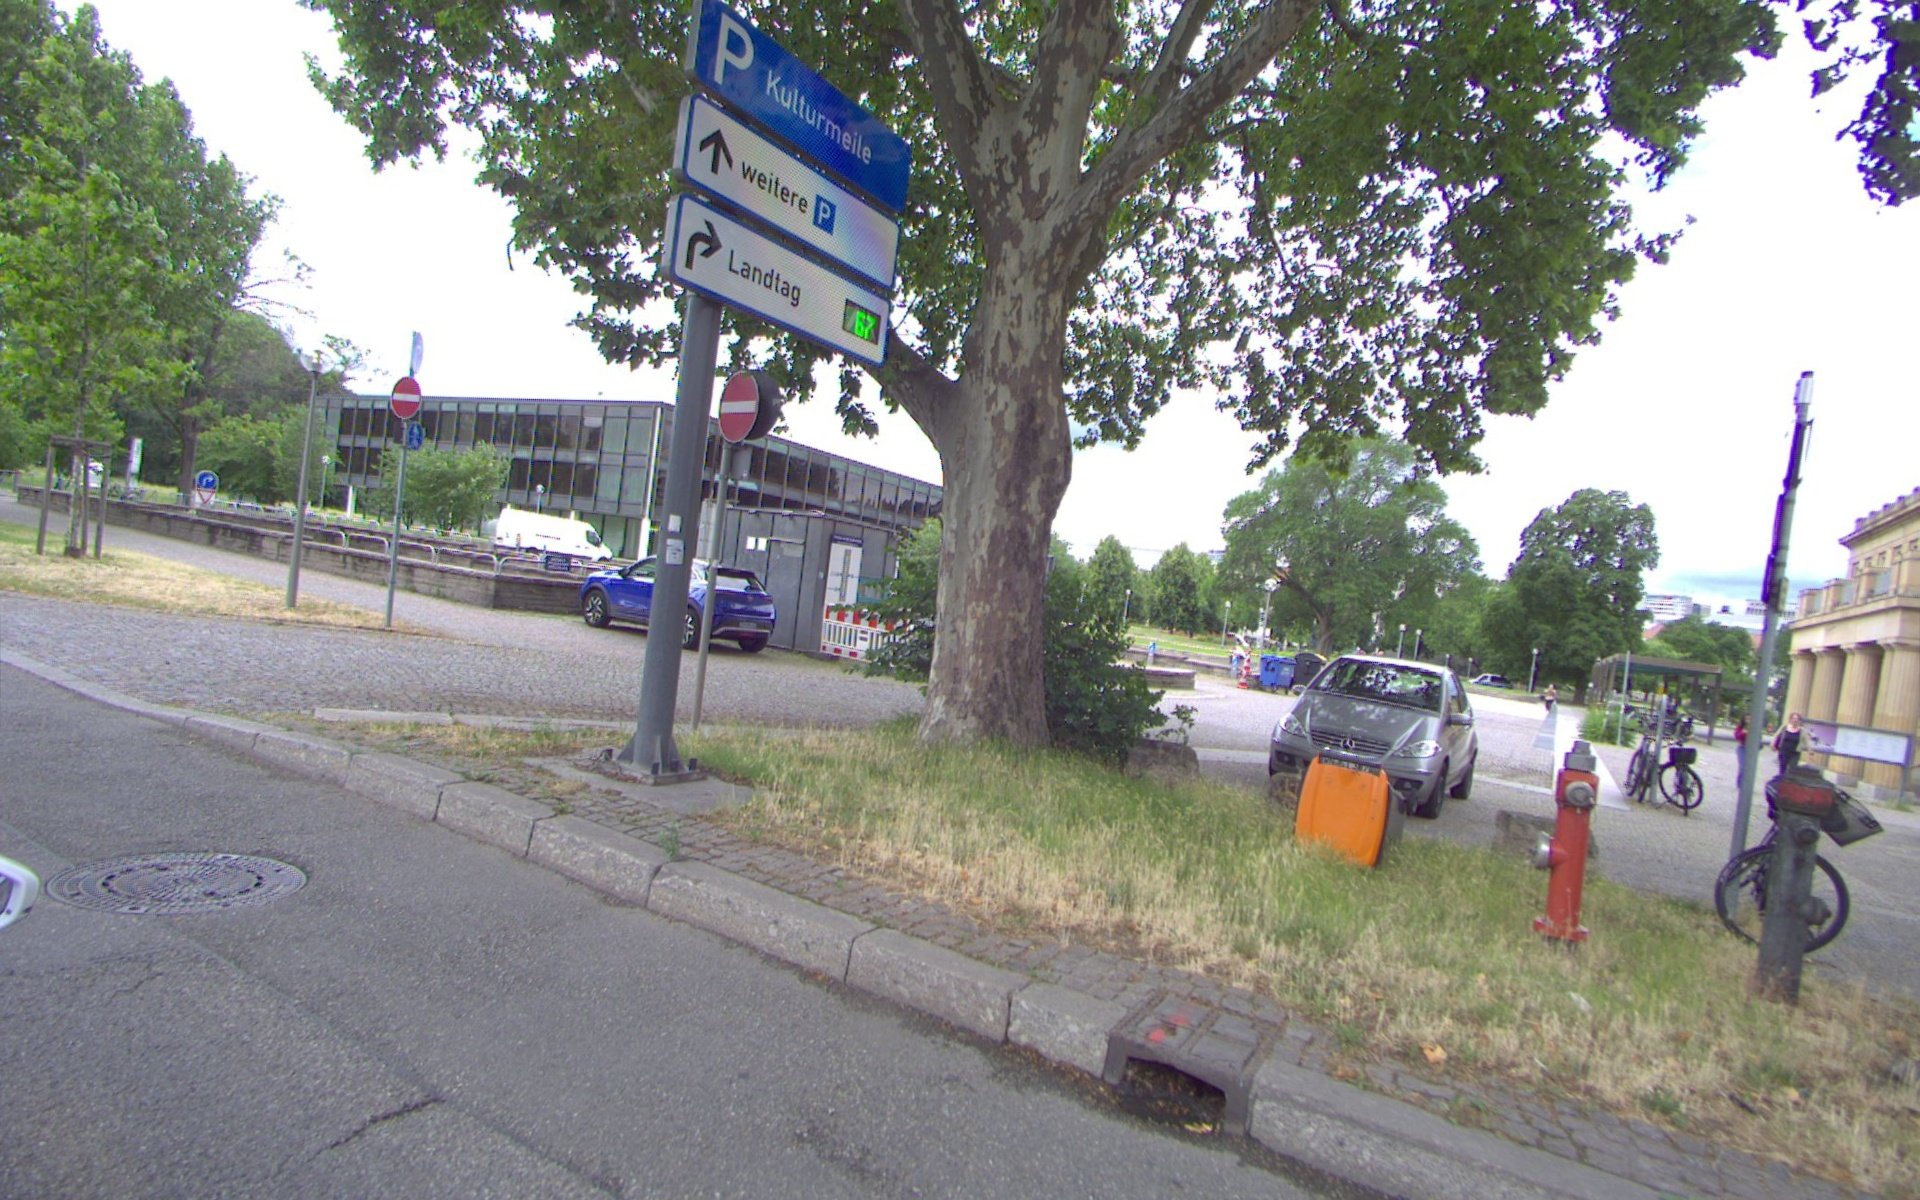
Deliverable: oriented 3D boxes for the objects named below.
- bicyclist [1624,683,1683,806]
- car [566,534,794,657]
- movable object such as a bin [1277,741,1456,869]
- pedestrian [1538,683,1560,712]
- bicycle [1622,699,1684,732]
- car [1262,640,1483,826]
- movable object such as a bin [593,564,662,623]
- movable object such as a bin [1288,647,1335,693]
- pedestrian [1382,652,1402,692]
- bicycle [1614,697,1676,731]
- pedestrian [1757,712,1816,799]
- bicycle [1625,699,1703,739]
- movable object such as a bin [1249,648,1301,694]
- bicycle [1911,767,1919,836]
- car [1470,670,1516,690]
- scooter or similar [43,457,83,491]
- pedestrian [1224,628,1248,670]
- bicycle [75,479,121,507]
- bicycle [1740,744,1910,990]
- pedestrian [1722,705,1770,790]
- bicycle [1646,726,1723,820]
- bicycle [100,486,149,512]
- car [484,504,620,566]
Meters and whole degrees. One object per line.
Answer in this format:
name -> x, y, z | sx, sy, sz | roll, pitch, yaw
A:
bicyclist -> 10.533, 2.181, 15.292 | 0.466, 1.770, 0.437 | 8, 1, 24
car -> -5.187, -0.100, 18.489 | 3.961, 1.571, 1.761 | 10, 2, 34
movable object such as a bin -> 2.794, 1.355, 6.847 | 0.718, 0.659, 1.299 | 6, -3, 40
pedestrian -> 39.788, 6.579, 67.924 | 0.929, 1.826, 0.546 | 8, -1, 4
bicycle -> 36.980, 6.148, 53.745 | 2.536, 1.360, 0.726 | 7, -1, 32
car -> 4.963, 1.446, 11.786 | 1.651, 1.587, 3.841 | 8, 0, 31
movable object such as a bin -> -7.033, -0.125, 21.272 | 0.757, 1.078, 1.009 | 11, 3, 29
movable object such as a bin -> 12.910, 2.584, 36.911 | 1.134, 1.515, 1.409 | 8, 1, 34
pedestrian -> 20.427, 3.398, 47.588 | 0.537, 1.826, 0.500 | 8, -1, 4
bicycle -> 36.148, 6.004, 53.105 | 2.536, 1.360, 0.726 | 7, -1, 32
pedestrian -> 17.965, 3.362, 21.881 | 0.693, 1.744, 0.680 | 8, 1, 30
bicycle -> 33.961, 5.728, 48.565 | 2.848, 1.442, 0.961 | 7, -1, 28
movable object such as a bin -> 10.354, 2.340, 33.048 | 1.134, 1.320, 1.409 | 8, 1, 34
bicycle -> 14.898, 3.085, 15.184 | 0.420, 1.113, 2.166 | 7, -1, 37
car -> 67.301, 10.038, 126.987 | 4.835, 1.758, 2.074 | 7, -2, 35
scooter or similar -> -38.182, -5.378, 42.798 | 2.190, 1.259, 0.636 | 7, -1, 34
pedestrian -> 14.347, 2.543, 52.308 | 0.799, 2.037, 0.625 | 8, -1, -39
bicycle -> -41.976, -5.207, 48.995 | 2.297, 1.076, 0.956 | 7, -2, 31
bicycle -> 5.526, 1.622, 6.513 | 0.484, 1.236, 1.786 | 8, 0, 34
pedestrian -> 16.812, 3.149, 21.527 | 0.559, 1.716, 0.430 | 8, 1, 30
bicycle -> 10.781, 2.545, 15.019 | 0.435, 1.146, 1.754 | 8, 0, 23
bicycle -> -41.528, -5.011, 49.975 | 2.741, 0.986, 0.956 | 7, -2, 31
car -> -21.172, -3.312, 52.498 | 2.362, 2.288, 6.113 | 8, 0, 33
